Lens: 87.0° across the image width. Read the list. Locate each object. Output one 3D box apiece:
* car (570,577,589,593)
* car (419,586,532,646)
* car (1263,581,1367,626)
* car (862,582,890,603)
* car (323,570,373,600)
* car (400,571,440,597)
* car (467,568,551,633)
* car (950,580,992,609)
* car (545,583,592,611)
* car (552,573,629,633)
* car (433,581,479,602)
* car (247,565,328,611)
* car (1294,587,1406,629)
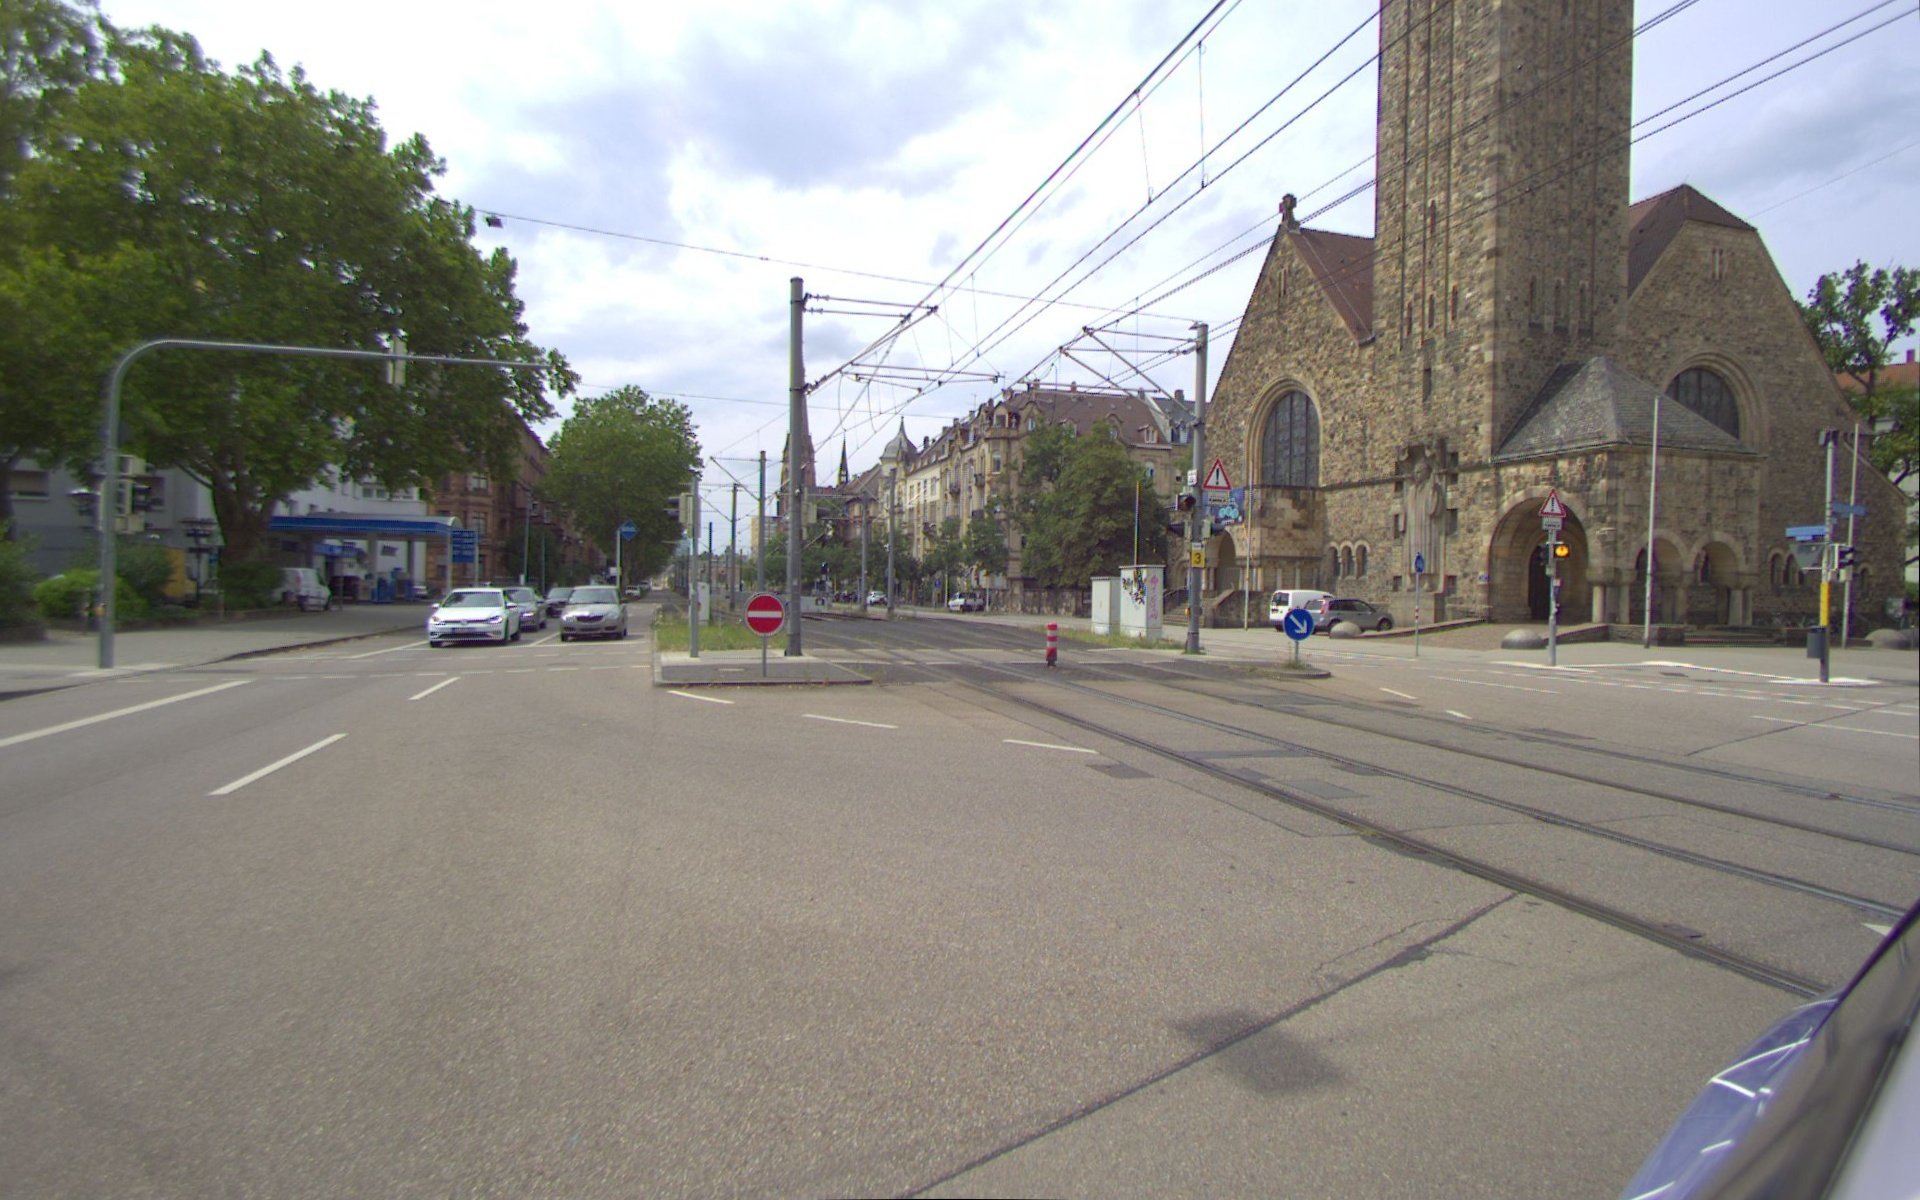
[{"bbox_3d":[-49.210,-1.906,130.853,1.958,2.039,4.009,1,0,-16],"label":"car"},{"bbox_3d":[-12.428,0.351,26.238,1.800,1.401,4.297,1,1,-14],"label":"car"},{"bbox_3d":[15.762,0.135,44.988,3.871,1.905,2.004,1,1,-17],"label":"car"},{"bbox_3d":[-8.590,-0.789,103.484,1.958,2.039,4.009,0,1,-19],"label":"car"},{"bbox_3d":[-42.586,-1.052,70.522,1.958,2.039,4.009,1,0,-15],"label":"car"},{"bbox_3d":[-43.815,-1.285,82.188,1.958,2.039,4.009,1,0,-15],"label":"car"},{"bbox_3d":[-14.987,-0.050,33.820,1.958,2.038,4.009,0,1,-15],"label":"car"},{"bbox_3d":[0.763,-0.416,73.061,1.958,2.039,4.009,1,1,-16],"label":"car"},{"bbox_3d":[-19.037,-0.150,49.290,1.958,1.282,4.009,1,1,-19],"label":"car"},{"bbox_3d":[-10.245,0.065,28.328,1.800,1.530,4.297,1,0,-17],"label":"car"},{"bbox_3d":[-32.990,-0.589,66.361,1.958,1.282,4.009,1,1,-16],"label":"car"},{"bbox_3d":[-29.541,-0.543,44.619,1.958,1.901,4.391,1,0,-20],"label":"car"},{"bbox_3d":[16.168,0.337,42.050,3.915,1.671,2.004,1,1,-17],"label":"car"}]
